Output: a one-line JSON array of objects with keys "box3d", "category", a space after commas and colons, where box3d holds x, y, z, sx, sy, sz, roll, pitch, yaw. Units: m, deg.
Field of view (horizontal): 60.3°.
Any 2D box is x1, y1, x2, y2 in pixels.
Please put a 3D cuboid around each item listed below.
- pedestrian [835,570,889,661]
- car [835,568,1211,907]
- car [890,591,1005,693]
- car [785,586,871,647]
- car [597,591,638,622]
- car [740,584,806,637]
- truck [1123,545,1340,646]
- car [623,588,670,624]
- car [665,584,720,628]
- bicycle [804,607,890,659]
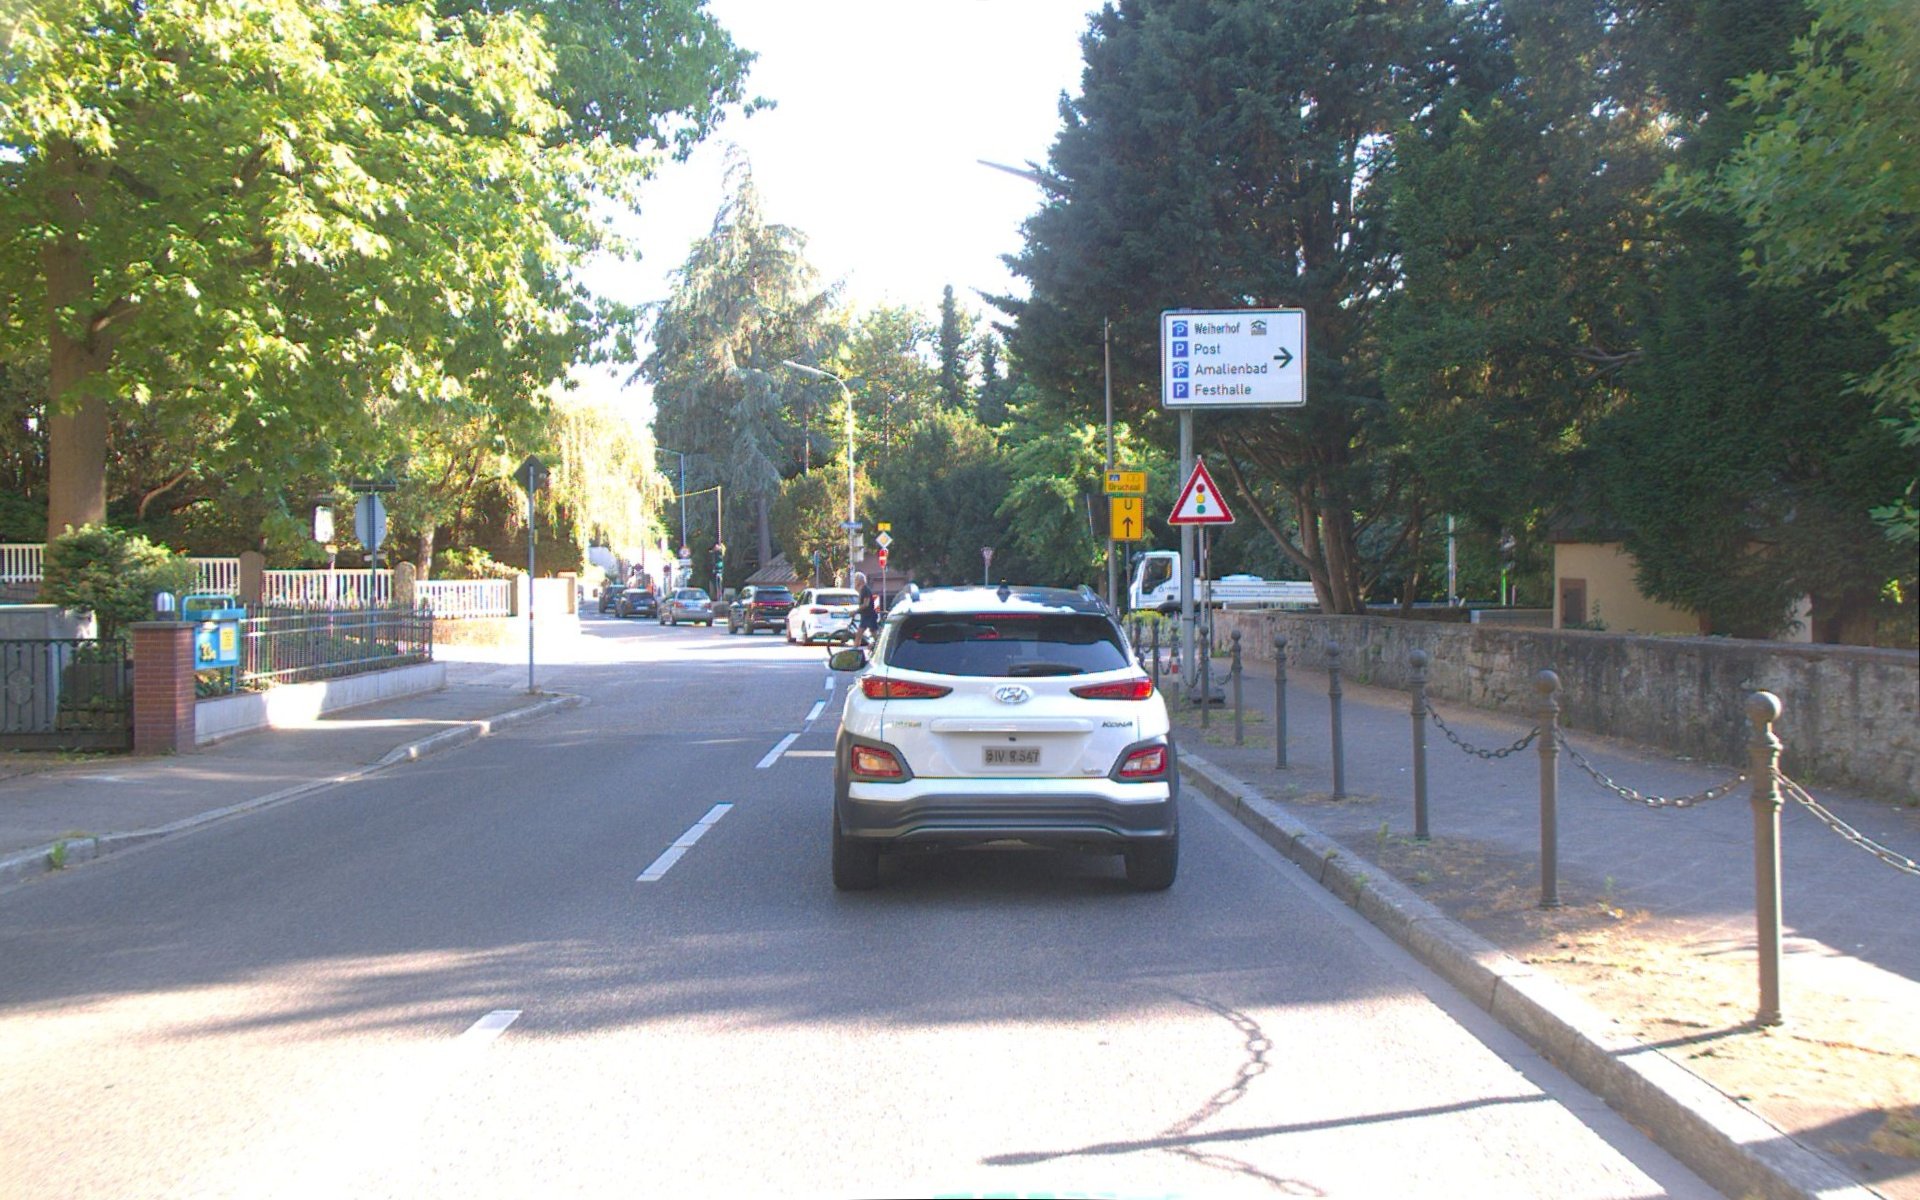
[{"box3d": [-2.047, 0.321, 34.531, 0.934, 1.858, 0.547, 1, 2, -39], "category": "pedestrian"}, {"box3d": [0.264, 0.647, 9.881, 1.783, 1.601, 3.999, 1, 0, -1], "category": "car"}, {"box3d": [-0.215, 0.611, 26.514, 1.673, 1.459, 4.364, 1, 0, -1], "category": "car"}, {"box3d": [-3.655, 0.410, 45.394, 1.774, 1.564, 3.987, 1, 0, -13], "category": "car"}, {"box3d": [-19.699, 0.337, 95.015, 1.804, 1.691, 3.978, 1, 0, -19], "category": "car"}, {"box3d": [-6.361, 0.334, 55.953, 1.799, 1.691, 3.988, 1, 0, -12], "category": "car"}, {"box3d": [8.395, -0.138, 51.643, 6.449, 2.945, 2.434, 1, 0, 4], "category": "truck"}, {"box3d": [-15.660, 0.289, 82.413, 1.803, 1.691, 3.980, 1, 0, -18], "category": "car"}, {"box3d": [-11.428, 0.243, 70.541, 1.802, 1.771, 3.982, 1, 0, -16], "category": "car"}, {"box3d": [-2.375, 0.690, 34.956, 1.799, 1.061, 0.554, 1, 2, -39], "category": "bicycle"}]
